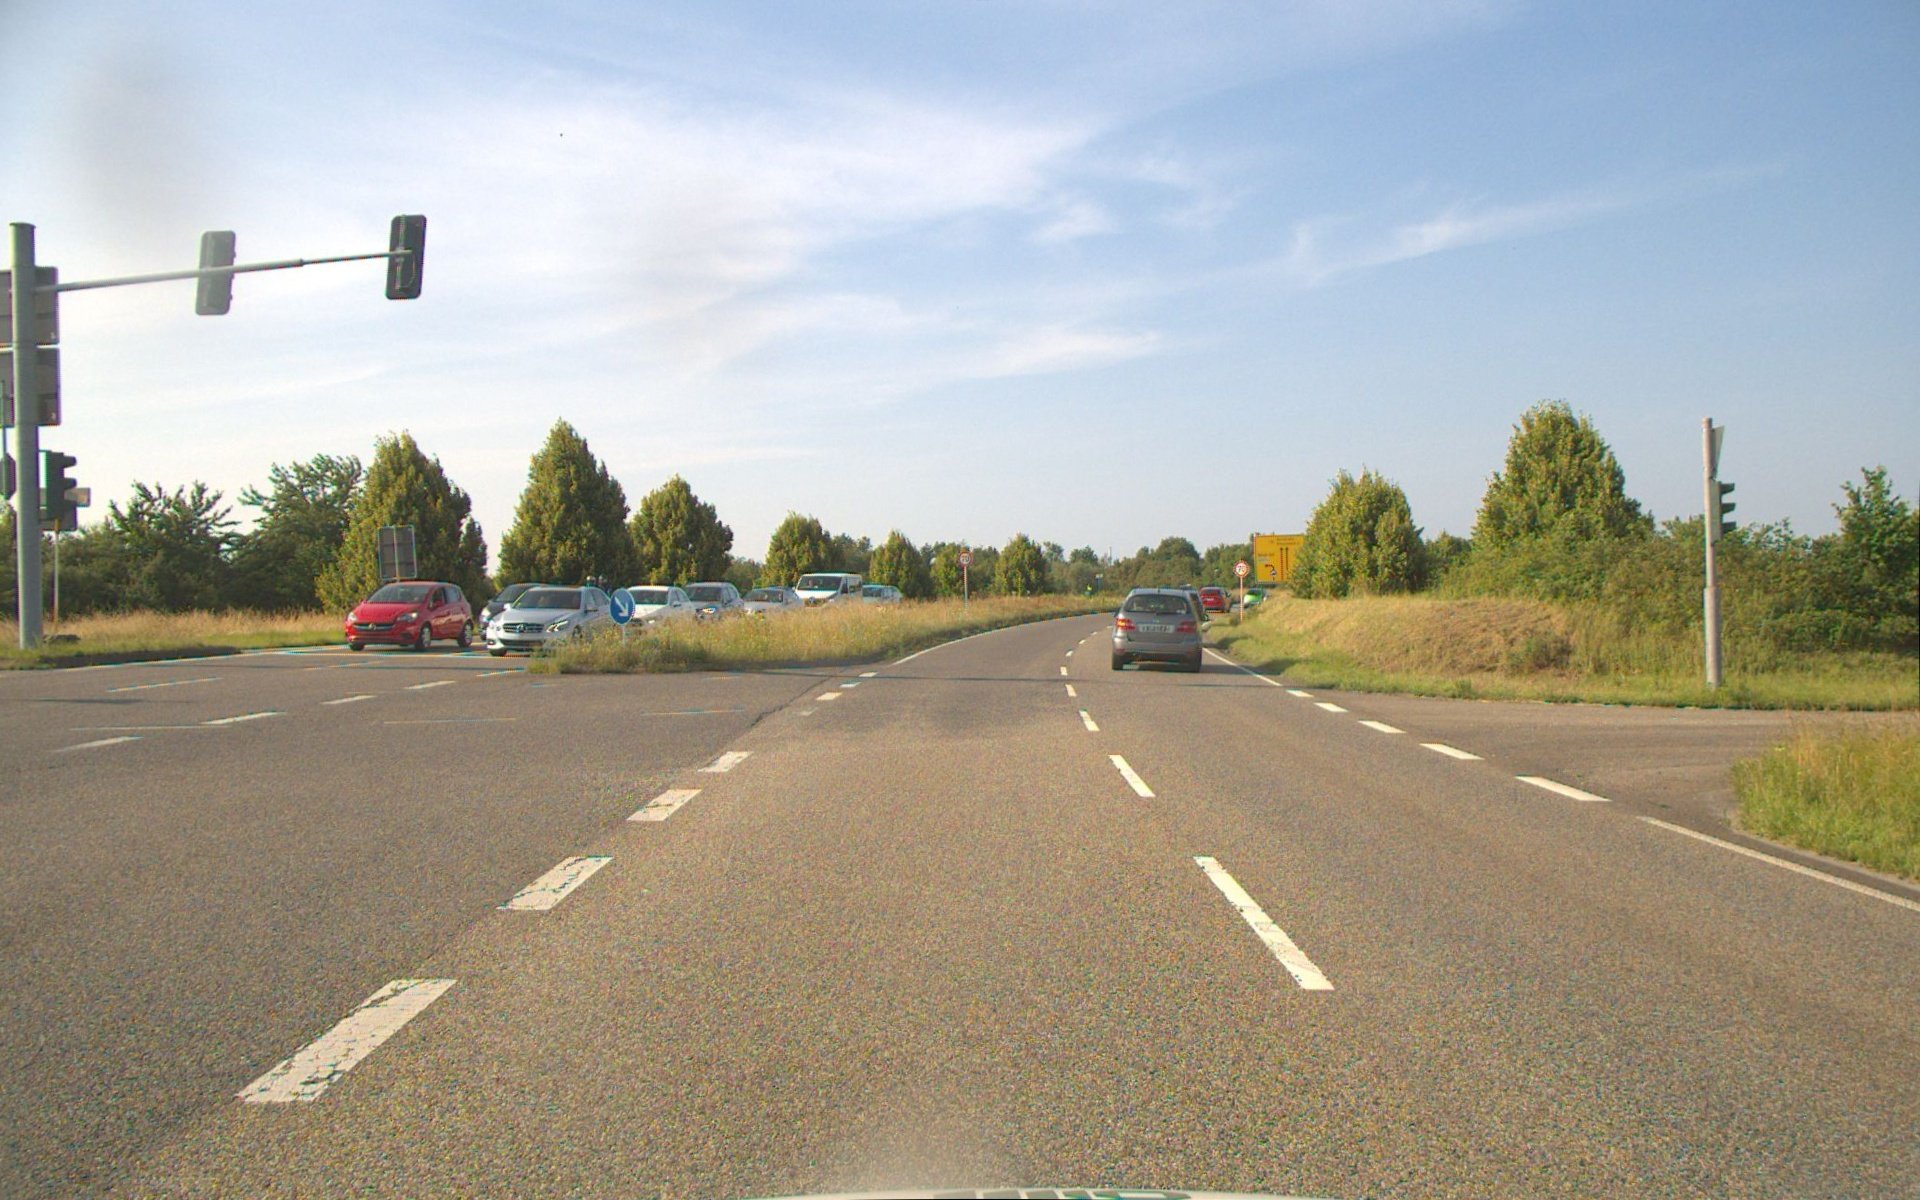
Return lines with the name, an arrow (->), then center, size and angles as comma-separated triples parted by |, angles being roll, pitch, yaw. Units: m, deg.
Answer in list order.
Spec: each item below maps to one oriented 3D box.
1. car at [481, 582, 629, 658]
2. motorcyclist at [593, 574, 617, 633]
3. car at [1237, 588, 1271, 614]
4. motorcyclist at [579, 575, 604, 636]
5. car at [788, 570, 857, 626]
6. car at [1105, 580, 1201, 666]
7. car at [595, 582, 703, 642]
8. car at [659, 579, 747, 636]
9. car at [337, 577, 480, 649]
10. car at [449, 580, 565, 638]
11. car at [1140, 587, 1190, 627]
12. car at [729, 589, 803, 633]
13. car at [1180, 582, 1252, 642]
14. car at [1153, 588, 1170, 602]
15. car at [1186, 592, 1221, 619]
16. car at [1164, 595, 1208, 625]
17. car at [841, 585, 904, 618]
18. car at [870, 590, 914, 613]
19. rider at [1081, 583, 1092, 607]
car -> -8.565, 0.393, 35.373 | 1.748, 1.514, 4.653 | -1, 0, 4
motorcyclist -> -11.210, 0.112, 52.197 | 0.649, 1.848, 0.605 | 0, 0, -4
car -> 21.769, 0.064, 122.380 | 1.869, 1.831, 4.279 | 0, -1, 18
motorcyclist -> -10.929, 0.165, 49.063 | 0.649, 1.778, 0.605 | 0, 0, -4
car -> -5.347, -0.079, 64.926 | 1.884, 2.114, 4.246 | -1, 0, 7
car -> 3.894, 0.480, 33.828 | 1.747, 1.633, 4.197 | 0, -1, 4
car -> -8.040, 0.287, 43.103 | 1.748, 1.458, 4.311 | -1, 0, 4
car -> -7.630, 0.211, 49.385 | 1.748, 1.596, 4.053 | -1, 0, 4
car -> -12.251, 0.263, 36.983 | 1.684, 1.514, 3.806 | -1, 0, 4
car -> -12.029, 0.229, 44.161 | 1.748, 1.458, 4.053 | -1, 0, 4
car -> 8.007, 0.257, 64.374 | 1.735, 1.518, 3.988 | 0, 0, 10
car -> -6.462, 0.340, 55.505 | 1.748, 1.410, 4.053 | -1, 0, 4
car -> 7.305, 0.331, 46.850 | 1.771, 1.593, 4.535 | 0, 0, 12
car -> 20.988, -0.523, 172.226 | 1.375, 1.426, 3.425 | -1, 0, 12
car -> 15.421, 0.370, 104.707 | 1.855, 1.592, 4.281 | 0, -1, 13
car -> 11.328, 0.517, 82.811 | 1.874, 1.440, 3.798 | 0, -1, 13
car -> -3.832, 0.071, 73.124 | 1.748, 1.410, 4.055 | -1, 0, 13
car -> -4.241, 0.057, 104.029 | 1.748, 1.410, 4.055 | -1, 0, 13
rider -> 10.949, -0.451, 143.019 | 0.849, 2.049, 0.772 | 0, 0, 15
